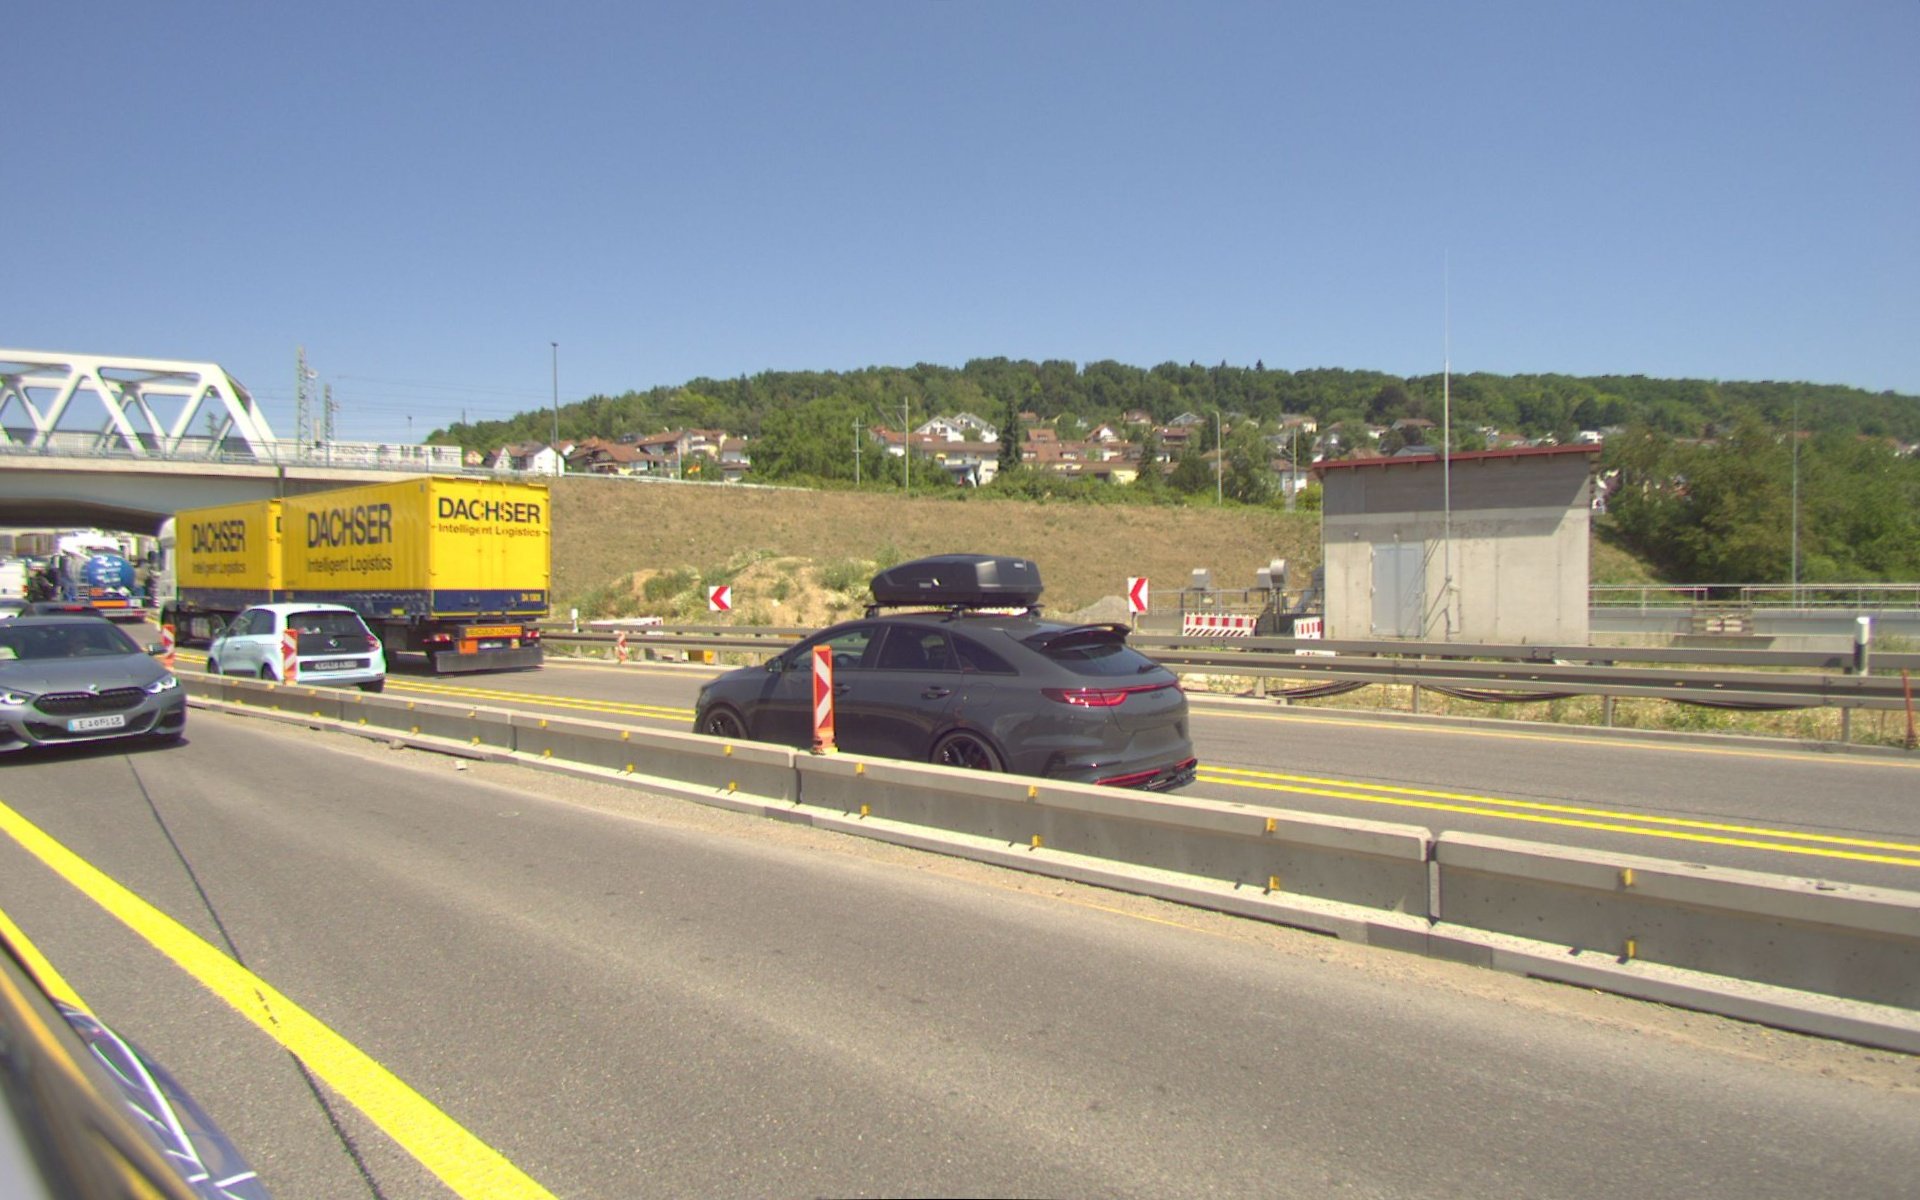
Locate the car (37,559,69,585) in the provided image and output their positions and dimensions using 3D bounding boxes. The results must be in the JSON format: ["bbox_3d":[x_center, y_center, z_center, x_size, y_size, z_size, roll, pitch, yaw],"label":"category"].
[{"bbox_3d":[-88.206,-2.768,98.460,1.955,2.347,6.071,0,2,-38],"label":"car"}]

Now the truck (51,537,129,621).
[{"bbox_3d":[-42.506,-1.068,49.397,2.505,3.850,4.954,-2,3,-44],"label":"truck"}]

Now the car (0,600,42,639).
[{"bbox_3d":[-33.466,0.668,35.101,4.329,1.274,1.661,0,1,38],"label":"car"}]

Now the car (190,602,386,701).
[{"bbox_3d":[-11.402,0.826,17.086,3.995,1.497,1.620,-2,-2,39],"label":"car"}]

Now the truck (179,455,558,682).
[{"bbox_3d":[-15.542,-0.668,25.418,15.354,4.375,2.780,0,1,38],"label":"truck"}]

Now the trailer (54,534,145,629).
[{"bbox_3d":[-38.709,-0.903,45.384,2.496,3.817,10.255,-2,3,-44],"label":"trailer"}]

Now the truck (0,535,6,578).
[{"bbox_3d":[-94.412,-4.190,97.020,3.410,4.076,10.233,0,4,-38],"label":"truck"}]

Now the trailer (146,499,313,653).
[{"bbox_3d":[-22.186,-0.696,30.662,5.213,4.261,2.838,1,1,39],"label":"trailer"}]

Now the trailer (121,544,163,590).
[{"bbox_3d":[-78.080,-3.229,96.517,2.841,4.069,14.384,-2,3,-40],"label":"trailer"}]

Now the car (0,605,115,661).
[{"bbox_3d":[-24.666,0.843,27.521,4.496,1.372,1.661,0,1,38],"label":"car"}]

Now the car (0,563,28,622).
[{"bbox_3d":[-45.257,-0.420,47.525,2.047,2.522,6.490,-1,3,-44],"label":"car"}]

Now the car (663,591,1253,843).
[{"bbox_3d":[-0.235,0.706,8.037,4.578,1.446,1.802,-1,0,39],"label":"car"}]

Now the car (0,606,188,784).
[{"bbox_3d":[-10.131,0.885,11.136,4.388,1.609,1.814,0,0,42],"label":"car"}]
